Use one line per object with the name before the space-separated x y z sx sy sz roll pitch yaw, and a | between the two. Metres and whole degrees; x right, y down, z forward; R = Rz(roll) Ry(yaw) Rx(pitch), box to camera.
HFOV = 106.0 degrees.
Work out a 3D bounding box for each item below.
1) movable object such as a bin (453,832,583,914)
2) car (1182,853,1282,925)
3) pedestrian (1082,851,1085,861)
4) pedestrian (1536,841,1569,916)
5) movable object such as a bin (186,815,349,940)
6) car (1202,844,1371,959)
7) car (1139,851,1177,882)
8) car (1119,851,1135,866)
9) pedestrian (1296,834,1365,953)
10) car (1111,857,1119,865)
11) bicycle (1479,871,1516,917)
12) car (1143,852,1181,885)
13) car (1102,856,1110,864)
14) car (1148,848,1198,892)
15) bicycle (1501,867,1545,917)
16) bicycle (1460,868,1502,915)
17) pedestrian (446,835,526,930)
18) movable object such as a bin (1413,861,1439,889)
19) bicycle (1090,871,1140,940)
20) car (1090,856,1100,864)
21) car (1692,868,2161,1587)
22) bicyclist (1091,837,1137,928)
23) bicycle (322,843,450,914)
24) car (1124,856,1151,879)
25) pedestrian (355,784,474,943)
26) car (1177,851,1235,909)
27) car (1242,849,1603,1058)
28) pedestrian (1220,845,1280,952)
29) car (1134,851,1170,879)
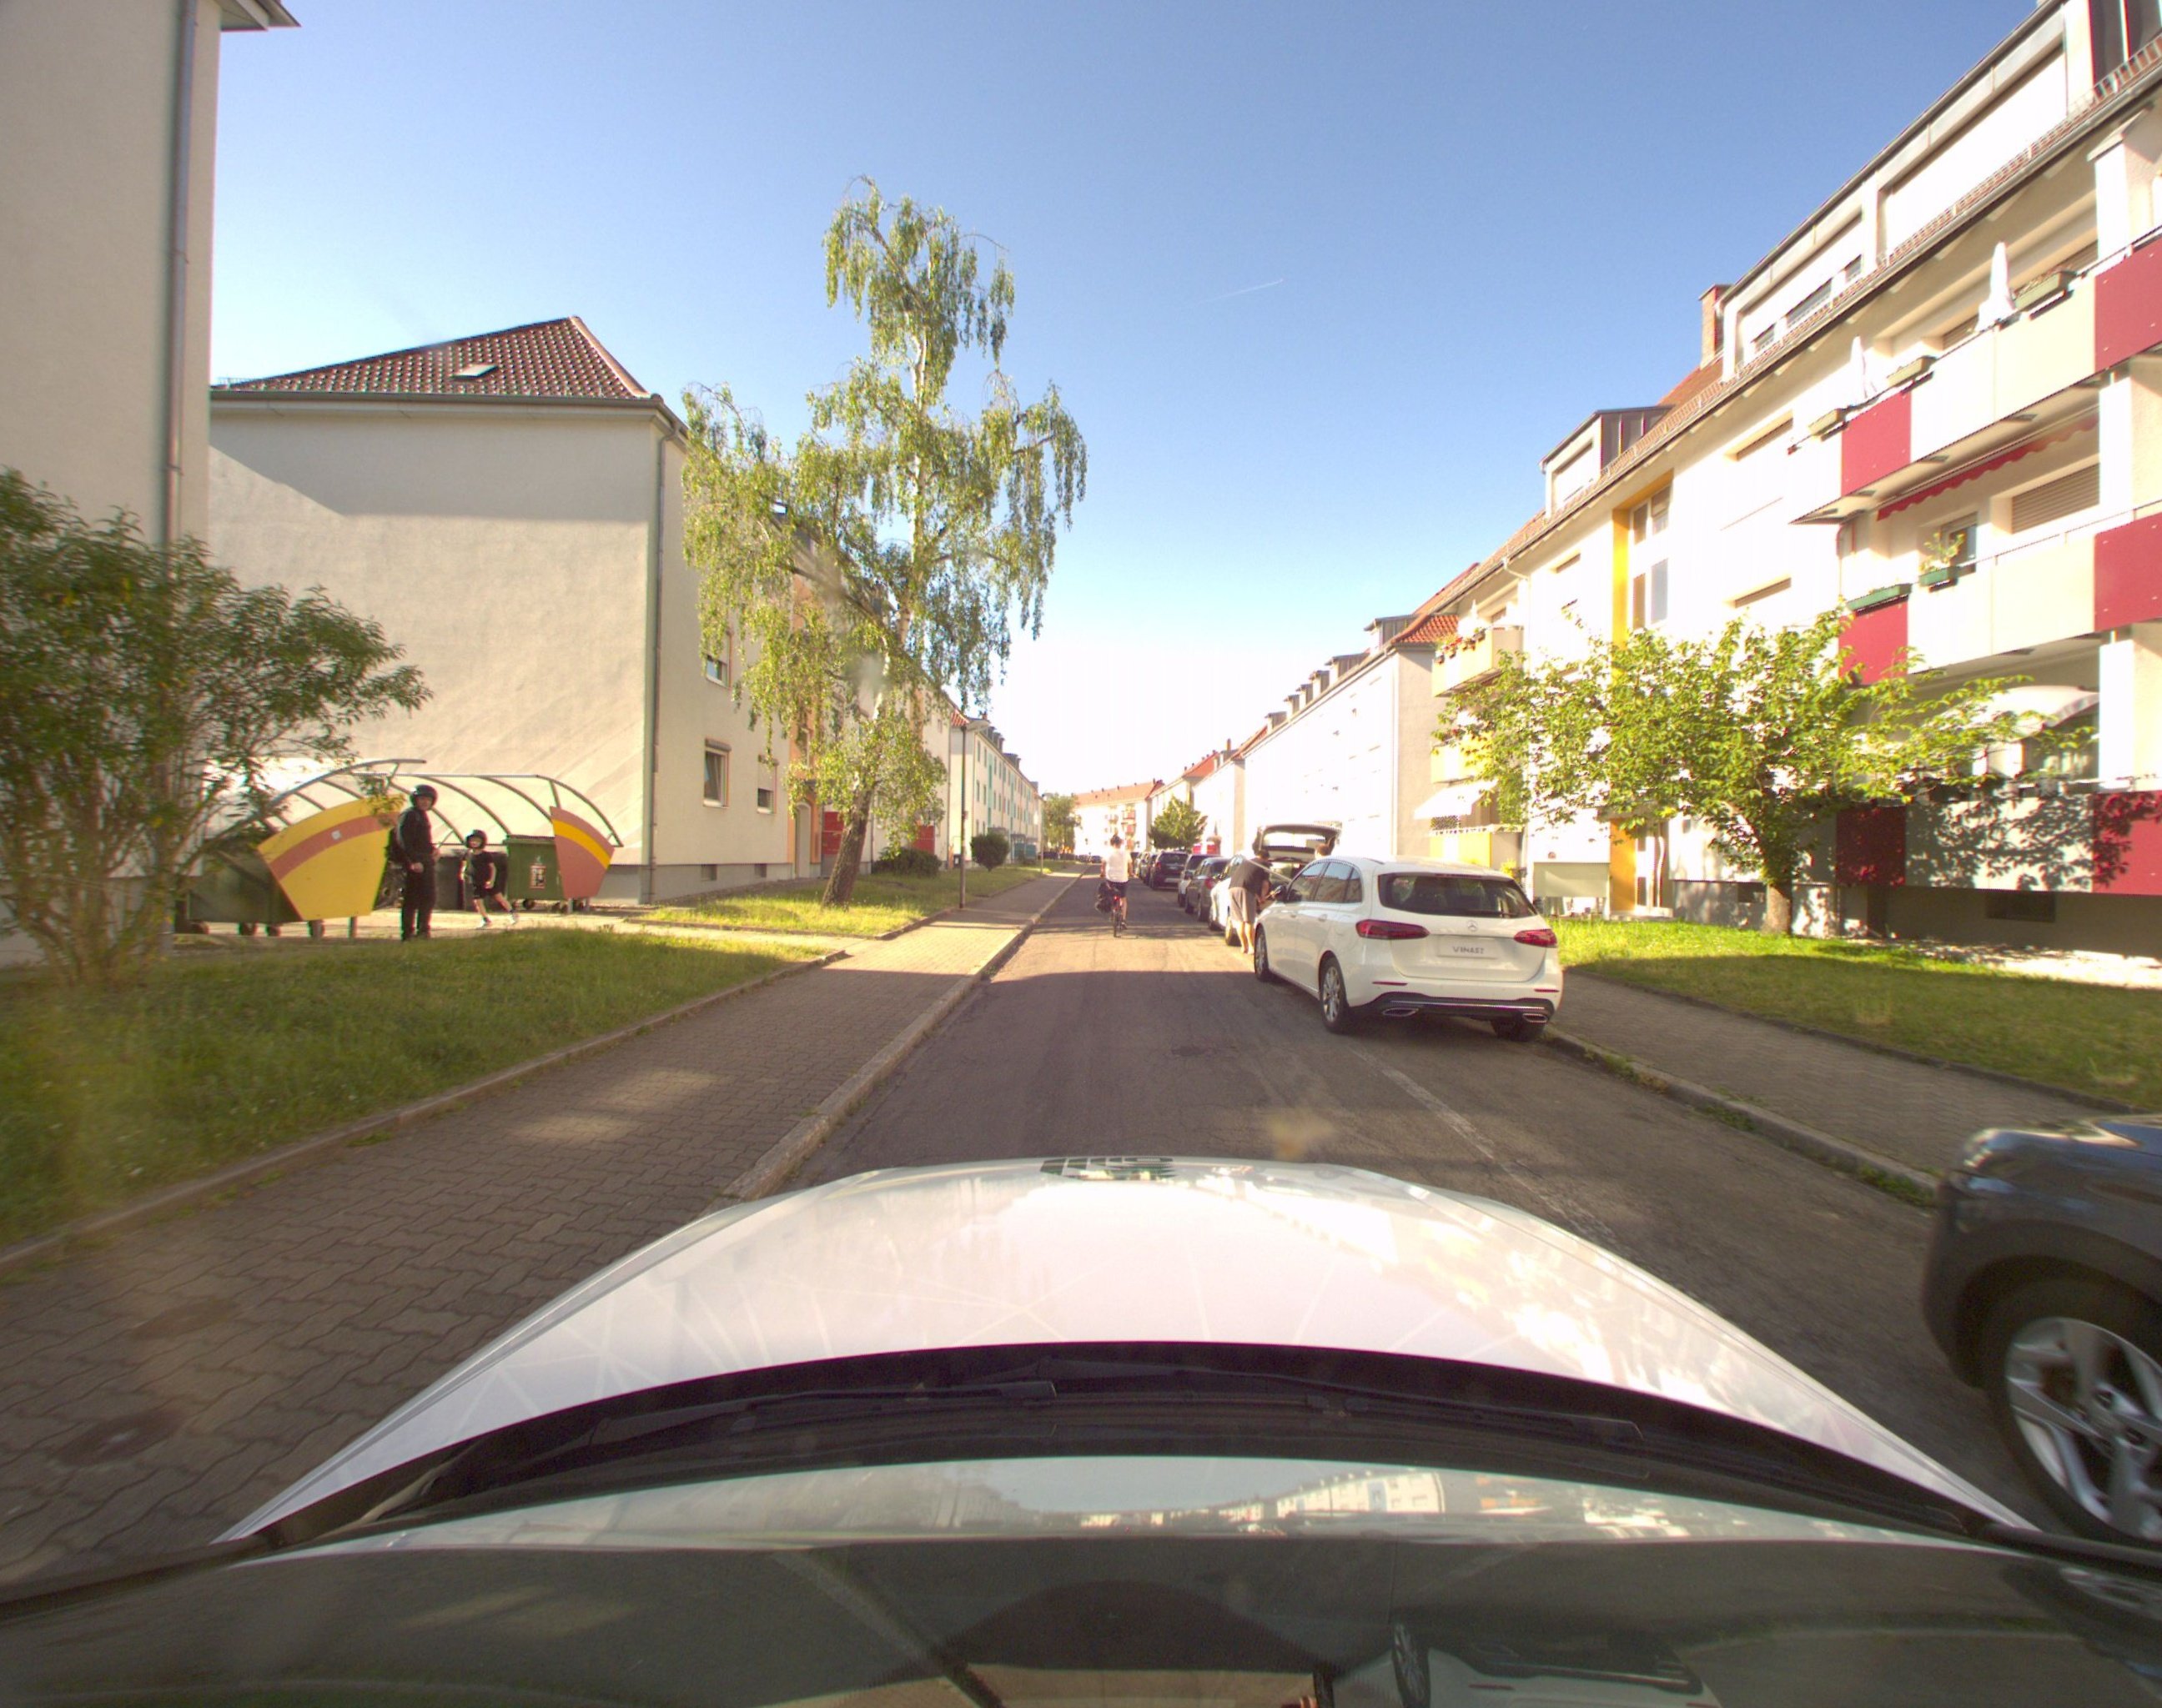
movable object such as a bin | -9.927 0.321 14.432 1.383 1.336 1.228 2 0 1
car | 3.526 0.749 19.703 1.688 1.491 3.984 2 0 1
pedestrian | 0.406 0.349 127.400 0.432 1.574 0.543 1 0 1
pedestrian | 9.533 0.494 16.463 0.449 1.495 0.360 0 -2 2
movable object such as a bin | -9.651 0.264 9.700 1.080 1.406 0.813 1 0 2
car | 3.384 0.693 14.466 1.985 1.613 5.000 2 0 4
car | 4.209 0.669 45.060 1.684 1.575 4.435 2 0 1
car | 5.497 0.473 98.335 1.669 1.738 3.942 2 0 0
pedestrian | 3.630 0.565 11.912 0.816 1.687 0.604 -1 0 1
car | 6.192 1.286 147.630 1.377 1.497 3.076 1 0 0
bicycle | 9.657 0.916 18.886 0.737 1.047 0.239 -1 0 3
car | 3.878 0.682 39.456 1.635 1.498 4.159 0 0 3
car | 4.970 1.114 160.302 1.465 1.516 3.076 1 0 0
car | 3.805 0.628 34.358 1.776 1.648 4.471 2 0 3
bicycle | 10.599 0.896 19.562 0.401 1.132 1.273 0 0 2
bicycle | 9.709 0.895 19.794 0.401 1.087 1.300 -1 0 2
pedestrian | -8.417 0.391 11.542 0.683 1.317 0.576 0 0 2
movable object such as a bin | 12.741 0.778 30.063 0.640 1.035 0.757 -1 -2 2
bicycle | 0.599 0.907 15.066 0.806 1.128 2.101 0 0 -1
car | 2.298 0.944 131.401 1.465 1.335 3.140 1 0 0
car | 3.011 0.806 1.014 1.639 1.449 4.065 2 0 4
bicyclist | 0.595 0.514 15.160 0.806 1.643 0.898 0 0 -1
bicycle | -11.813 0.393 13.926 0.530 1.117 1.850 2 0 1
car | 4.389 1.038 63.714 1.855 1.668 4.128 2 0 1
pedestrian | -7.920 0.114 9.714 0.802 1.824 0.718 0 0 2
car | 3.661 0.721 24.178 1.472 1.529 2.945 3 0 5
car | 2.976 0.739 8.272 1.766 1.505 4.479 1 0 0
pedestrian | 2.574 0.653 12.472 0.737 1.575 0.880 -1 0 1
car | 4.420 0.636 51.111 1.745 1.617 4.451 3 0 0
